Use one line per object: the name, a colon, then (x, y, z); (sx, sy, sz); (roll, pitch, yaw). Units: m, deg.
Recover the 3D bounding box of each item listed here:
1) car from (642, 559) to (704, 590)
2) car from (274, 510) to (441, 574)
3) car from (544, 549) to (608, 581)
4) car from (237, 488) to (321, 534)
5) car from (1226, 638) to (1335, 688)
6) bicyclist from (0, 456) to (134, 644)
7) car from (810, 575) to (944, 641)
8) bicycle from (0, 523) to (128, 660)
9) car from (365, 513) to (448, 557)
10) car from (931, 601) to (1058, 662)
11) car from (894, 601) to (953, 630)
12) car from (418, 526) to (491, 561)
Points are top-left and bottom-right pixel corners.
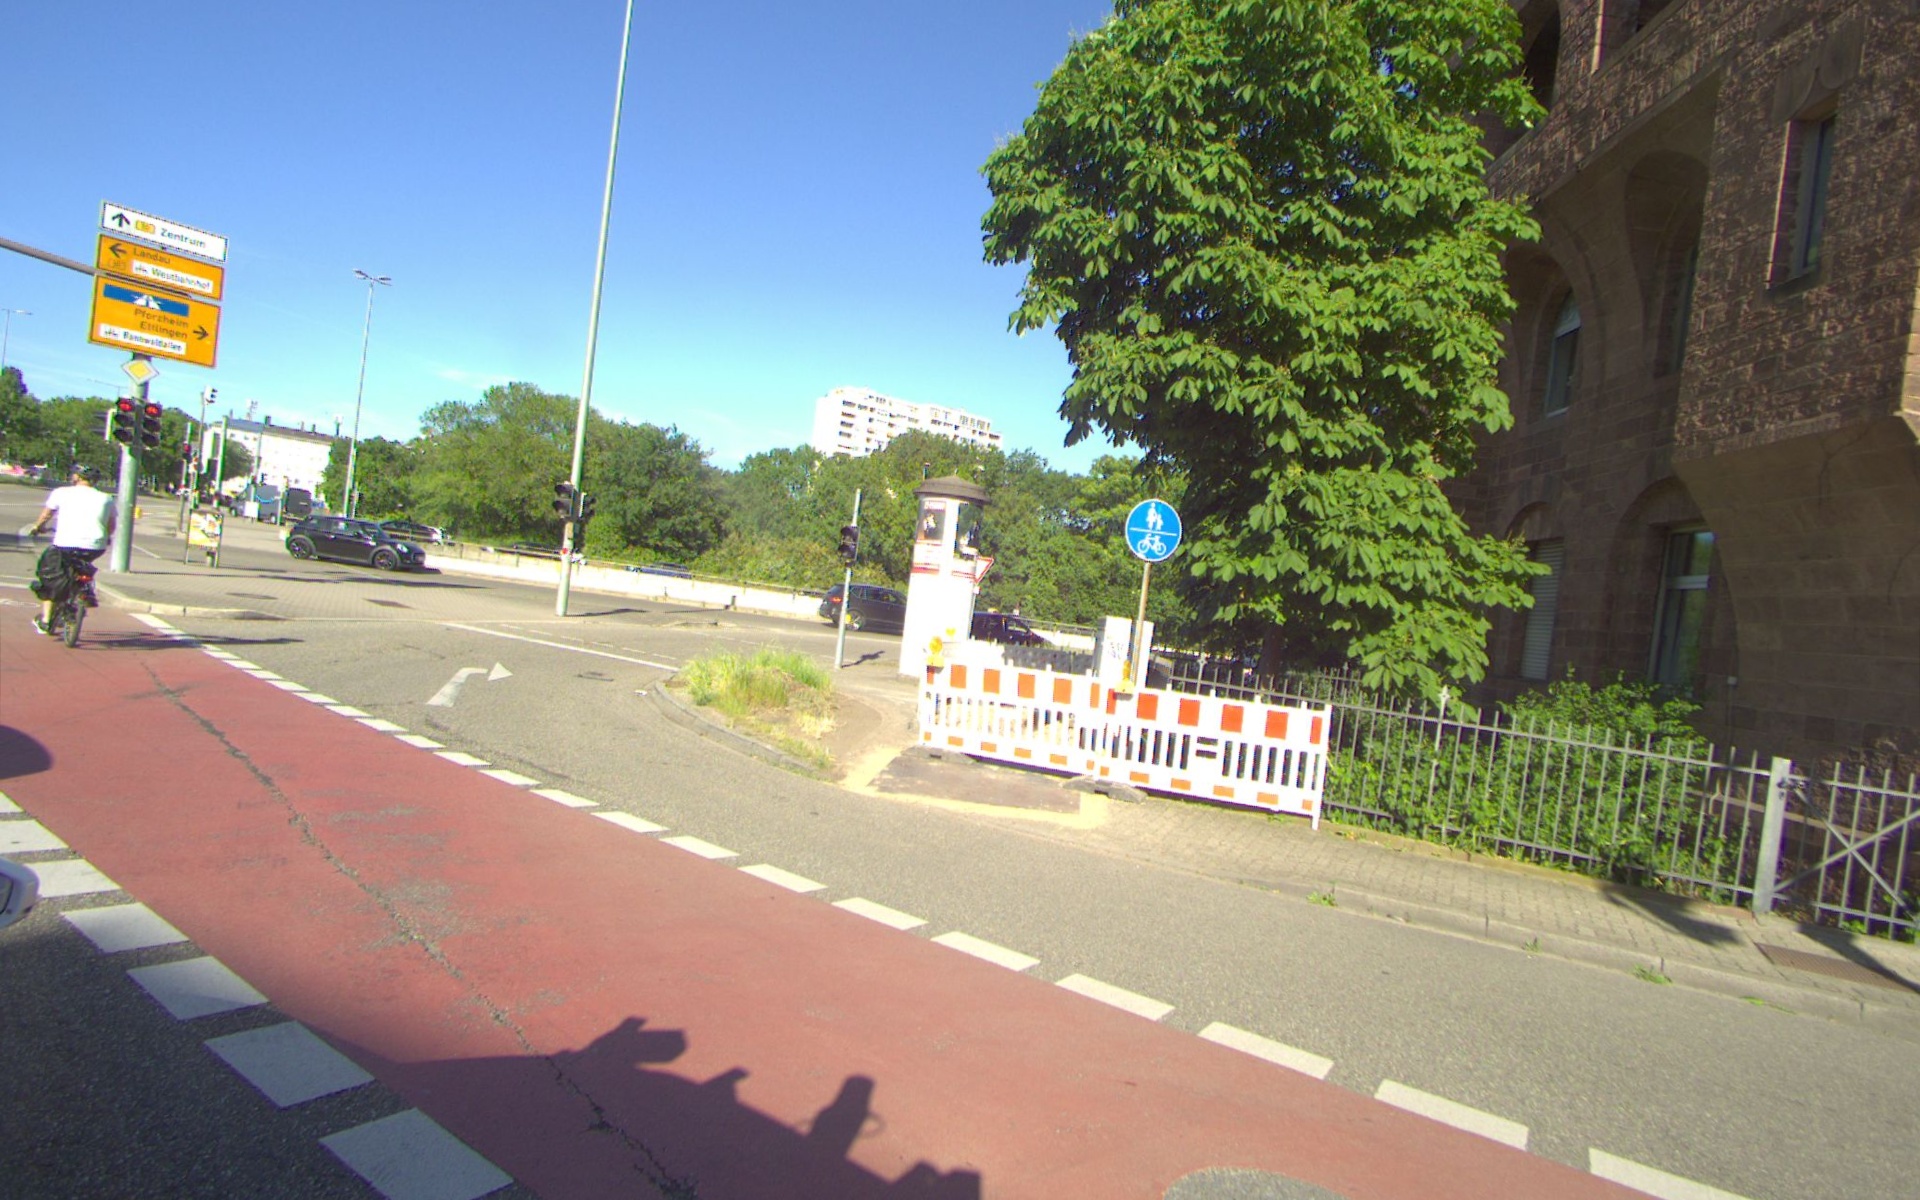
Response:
car: (-20.821, -1.819, 73.045); (3.949, 1.681, 1.989); (7, -2, -25)
car: (-18.899, -1.780, 31.738); (3.932, 1.471, 1.996); (7, 1, -10)
car: (-26.995, -2.425, 70.883); (3.941, 1.703, 1.851); (7, -2, -18)
car: (-47.752, -6.219, 70.518); (4.795, 2.638, 2.263); (5, -1, 19)
car: (13.809, 2.712, 43.364); (4.043, 1.602, 1.818); (7, 1, -18)
bicyclist: (-9.070, -0.511, 10.251); (0.796, 1.725, 1.073); (8, 0, -38)
car: (-3.019, 0.293, 36.521); (4.304, 1.857, 1.990); (7, -2, -24)
bicycle: (-9.117, -0.132, 10.243); (0.796, 1.124, 2.376); (9, 0, -38)
car: (-33.549, -3.909, 61.081); (3.943, 2.037, 1.992); (7, -2, -20)
car: (1.132, 1.035, 31.829); (1.732, 1.513, 3.979); (9, 2, 42)
car: (-2.949, 1.230, 80.788); (4.204, 1.876, 2.010); (7, -2, -23)
car: (-34.690, -3.847, 69.196); (3.933, 1.770, 1.997); (7, -2, -11)
